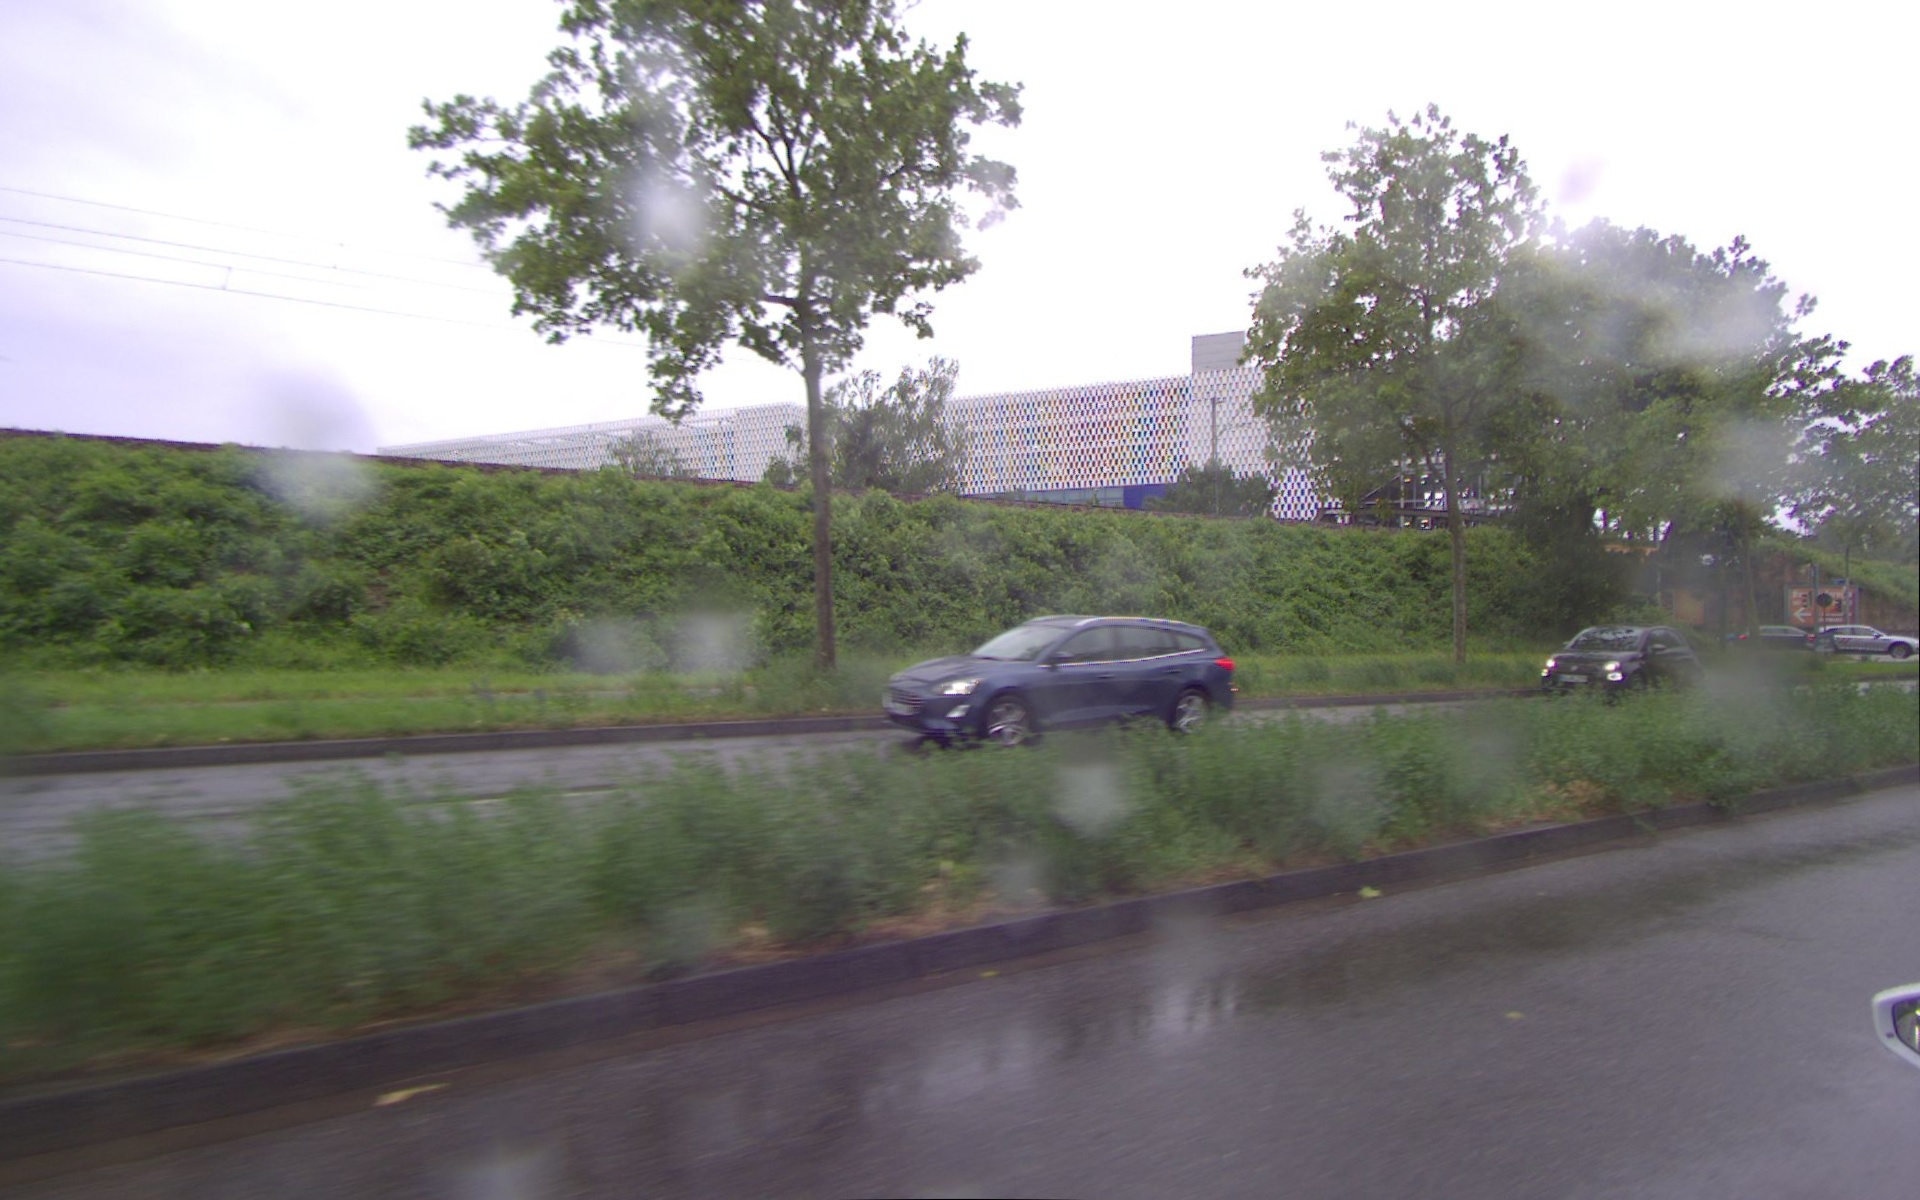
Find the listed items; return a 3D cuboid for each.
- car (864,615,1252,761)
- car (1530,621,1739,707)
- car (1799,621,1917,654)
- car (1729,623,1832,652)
[{"bbox_3d":[1.251,0.945,12.225,4.444,1.464,1.921,1,0,-30],"label":"car"},{"bbox_3d":[12.926,1.160,19.232,3.664,1.464,1.922,1,0,-30],"label":"car"},{"bbox_3d":[46.093,1.902,51.649,4.454,1.610,1.853,-1,-2,43],"label":"car"},{"bbox_3d":[46.697,2.111,57.293,4.311,1.557,1.798,0,-1,32],"label":"car"}]
